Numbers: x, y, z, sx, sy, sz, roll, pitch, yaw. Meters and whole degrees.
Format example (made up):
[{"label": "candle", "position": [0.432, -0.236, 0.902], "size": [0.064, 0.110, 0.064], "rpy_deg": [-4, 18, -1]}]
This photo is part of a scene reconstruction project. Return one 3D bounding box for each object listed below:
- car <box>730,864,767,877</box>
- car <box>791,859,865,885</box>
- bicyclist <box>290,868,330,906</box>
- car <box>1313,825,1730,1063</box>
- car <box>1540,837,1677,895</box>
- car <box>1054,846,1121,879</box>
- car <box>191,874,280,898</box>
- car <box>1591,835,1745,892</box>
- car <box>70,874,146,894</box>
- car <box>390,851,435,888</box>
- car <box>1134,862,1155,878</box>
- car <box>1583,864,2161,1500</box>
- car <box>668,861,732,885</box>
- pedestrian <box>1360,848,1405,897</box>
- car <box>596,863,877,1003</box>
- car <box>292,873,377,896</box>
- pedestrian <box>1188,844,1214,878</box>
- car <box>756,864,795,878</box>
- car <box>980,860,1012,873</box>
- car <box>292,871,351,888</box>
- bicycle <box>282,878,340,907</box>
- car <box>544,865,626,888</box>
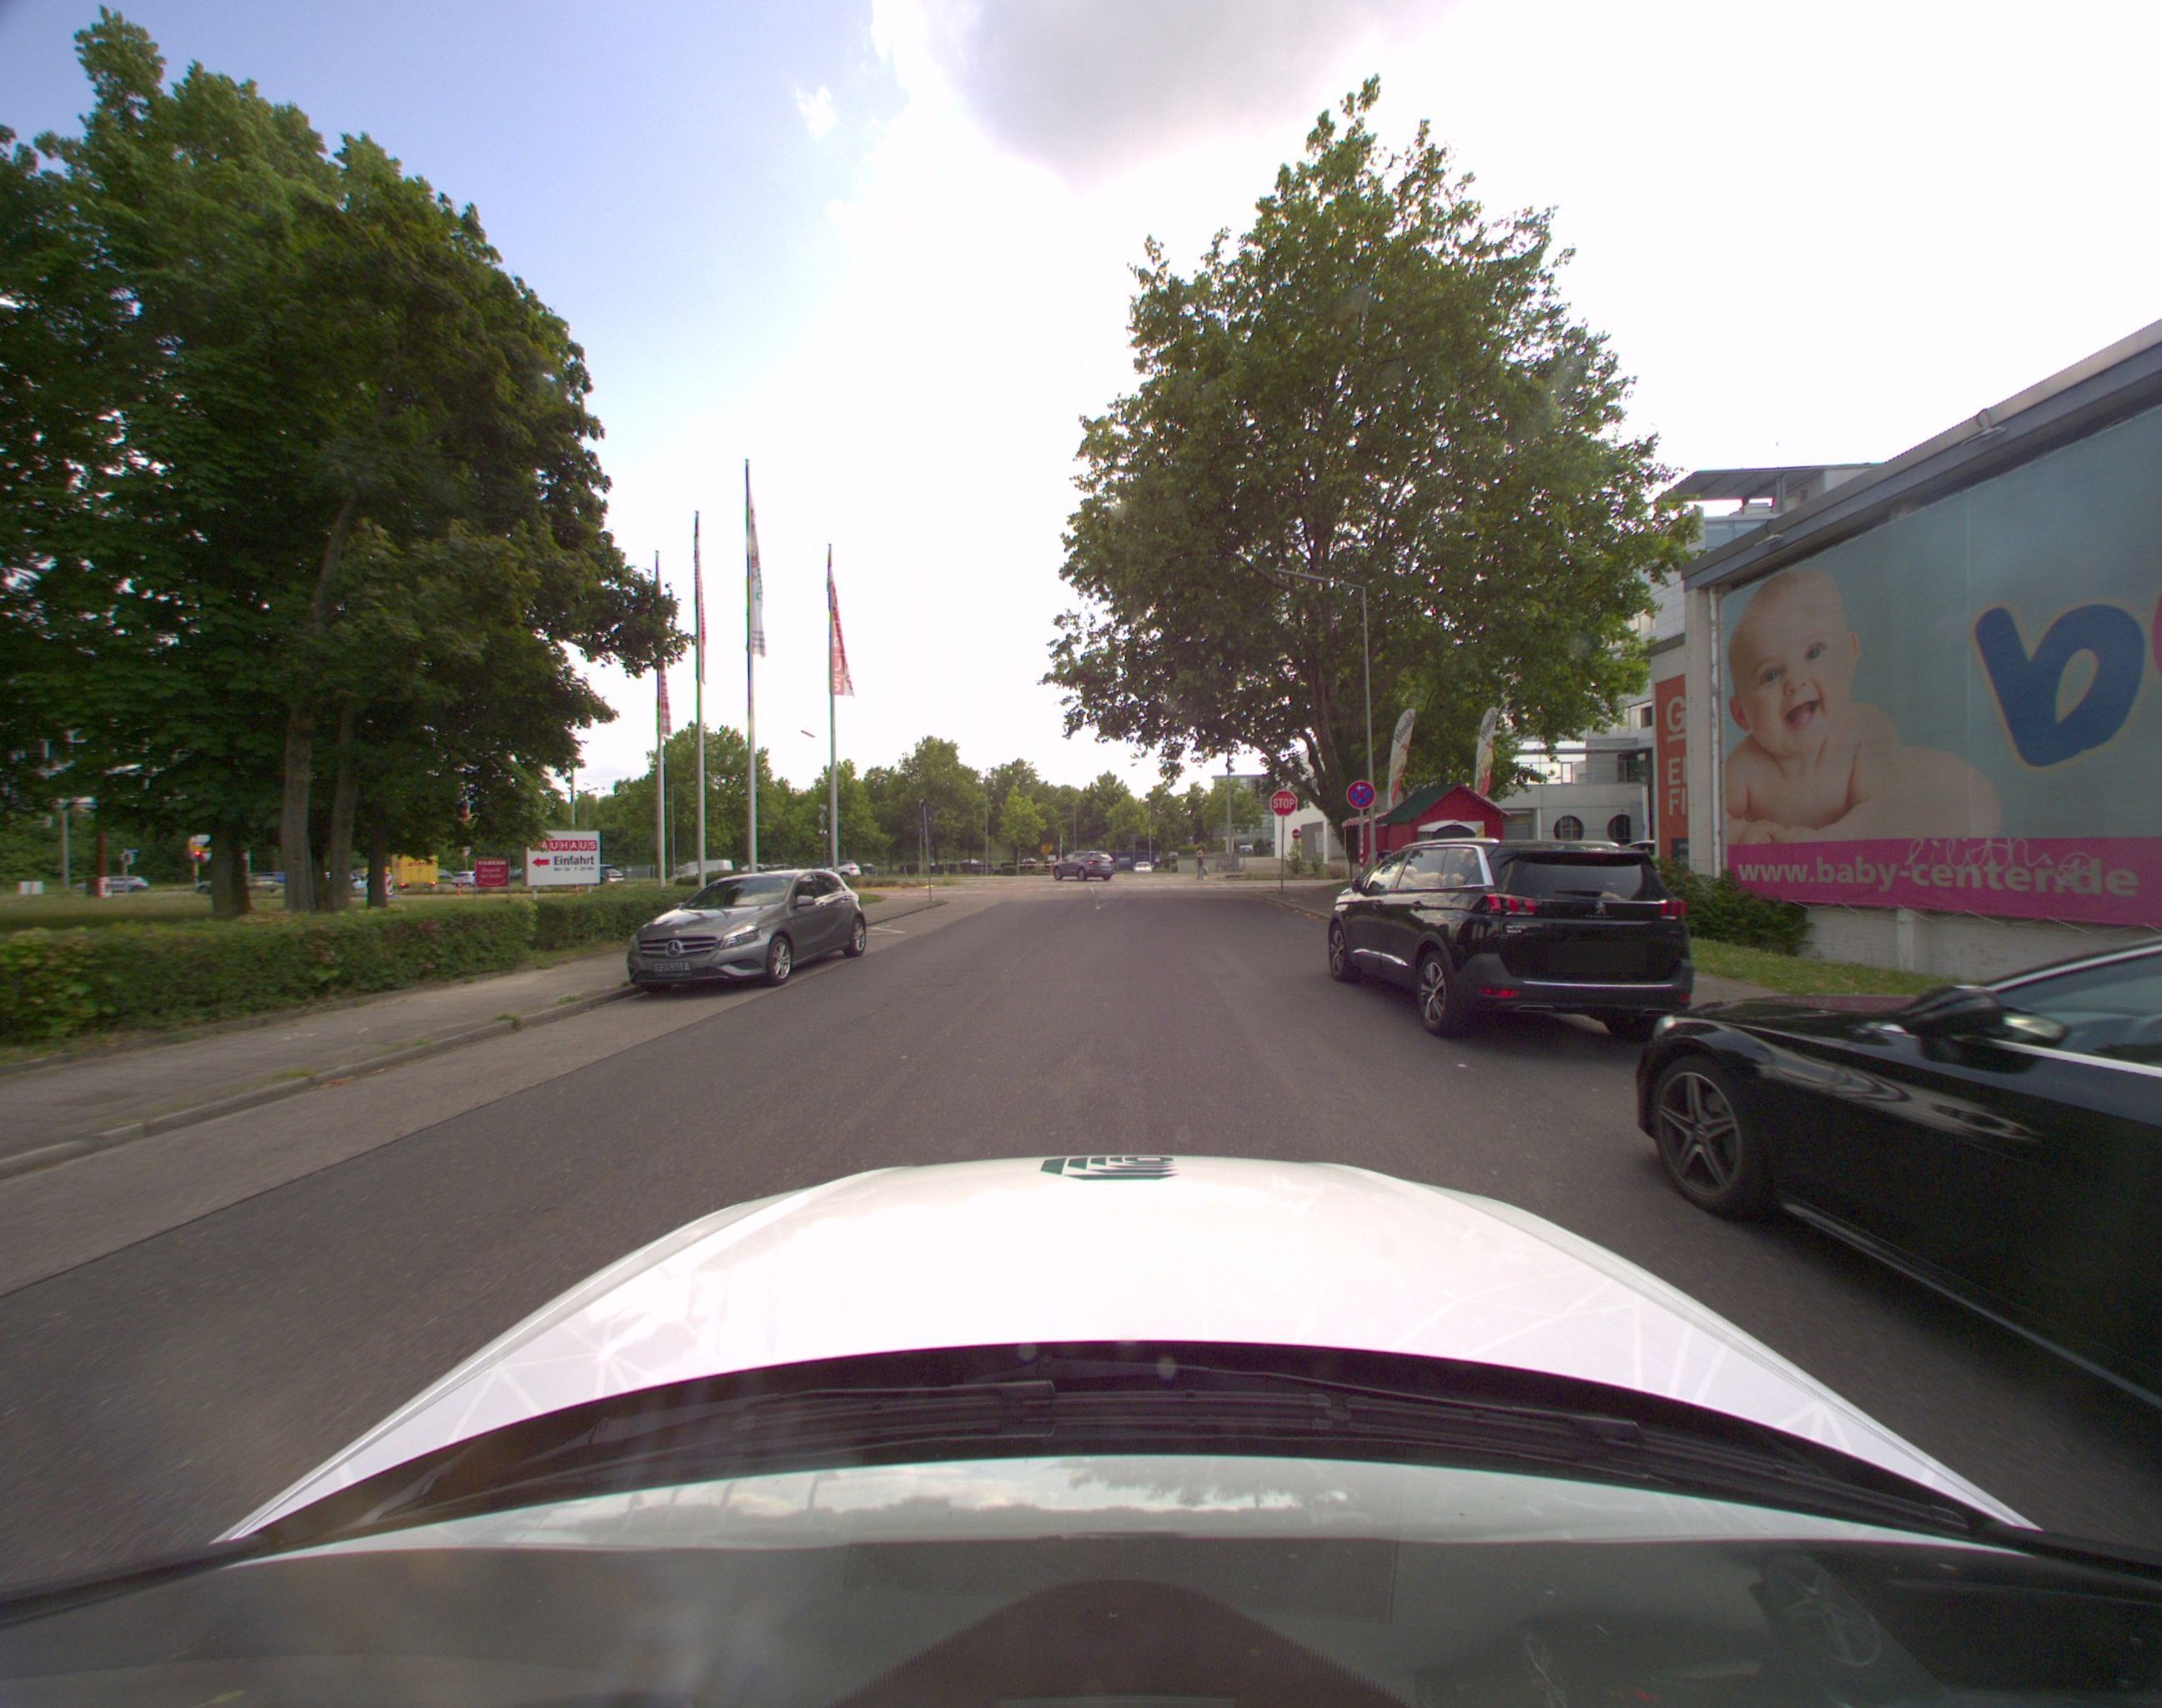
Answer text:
[{"label": "car", "position": [-43.914, 2.167, 107.642], "size": [1.895, 1.662, 4.025], "rpy_deg": [-1, 0, 36]}, {"label": "car", "position": [-16.627, 1.168, 53.574], "size": [4.205, 1.579, 1.924], "rpy_deg": [-1, 0, 1]}, {"label": "bicyclist", "position": [-34.549, 1.477, 36.487], "size": [1.004, 1.647, 0.733], "rpy_deg": [-2, 1, -2]}, {"label": "car", "position": [3.820, 0.633, 8.171], "size": [1.801, 1.665, 4.642], "rpy_deg": [1, 0, 2]}, {"label": "car", "position": [15.092, 0.314, 23.564], "size": [1.730, 1.512, 4.008], "rpy_deg": [-1, 0, 7]}, {"label": "car", "position": [0.337, 0.476, 47.431], "size": [1.974, 1.815, 4.234], "rpy_deg": [-1, 0, -31]}, {"label": "car", "position": [-55.962, 2.115, 53.933], "size": [4.003, 1.406, 1.798], "rpy_deg": [-1, 0, 1]}, {"label": "car", "position": [17.650, 0.261, 24.740], "size": [1.734, 1.568, 3.998], "rpy_deg": [-1, 0, -1]}, {"label": "car", "position": [-80.884, 2.466, 67.745], "size": [1.850, 1.503, 3.935], "rpy_deg": [-1, 0, 36]}, {"label": "car", "position": [-50.242, 1.189, 61.131], "size": [2.218, 2.578, 6.326], "rpy_deg": [-1, -1, -43]}, {"label": "car", "position": [6.220, 1.530, 79.392], "size": [1.922, 1.403, 4.086], "rpy_deg": [-1, -1, 5]}, {"label": "car", "position": [3.358, 0.779, 1.929], "size": [1.799, 1.391, 4.594], "rpy_deg": [1, 0, 5]}, {"label": "car", "position": [-36.838, 1.822, 78.737], "size": [5.269, 2.211, 1.797], "rpy_deg": [-1, -1, 0]}, {"label": "pedestrian", "position": [8.367, 0.514, 22.629], "size": [1.007, 1.314, 0.968], "rpy_deg": [-1, -1, 11]}, {"label": "car", "position": [-4.455, 0.929, 11.385], "size": [1.701, 1.420, 4.337], "rpy_deg": [-4, 0, 5]}, {"label": "car", "position": [-49.746, 2.022, 54.303], "size": [4.003, 1.406, 1.798], "rpy_deg": [-1, 0, 1]}, {"label": "pedestrian", "position": [6.684, 0.406, 45.311], "size": [1.002, 1.849, 1.223], "rpy_deg": [-1, -1, -14]}, {"label": "car", "position": [-39.064, 2.139, 104.127], "size": [1.895, 1.721, 4.327], "rpy_deg": [-1, 0, 36]}, {"label": "car", "position": [-11.590, 1.683, 111.160], "size": [3.948, 1.701, 1.922], "rpy_deg": [-1, -1, 35]}, {"label": "car", "position": [-73.113, 2.405, 78.433], "size": [1.850, 1.503, 3.935], "rpy_deg": [-1, 0, 36]}, {"label": "bicycle", "position": [-34.495, 1.717, 36.483], "size": [1.804, 1.166, 0.730], "rpy_deg": [-2, 1, -2]}, {"label": "car", "position": [-32.640, 1.466, 53.690], "size": [4.205, 1.406, 1.924], "rpy_deg": [-1, 0, 1]}]
